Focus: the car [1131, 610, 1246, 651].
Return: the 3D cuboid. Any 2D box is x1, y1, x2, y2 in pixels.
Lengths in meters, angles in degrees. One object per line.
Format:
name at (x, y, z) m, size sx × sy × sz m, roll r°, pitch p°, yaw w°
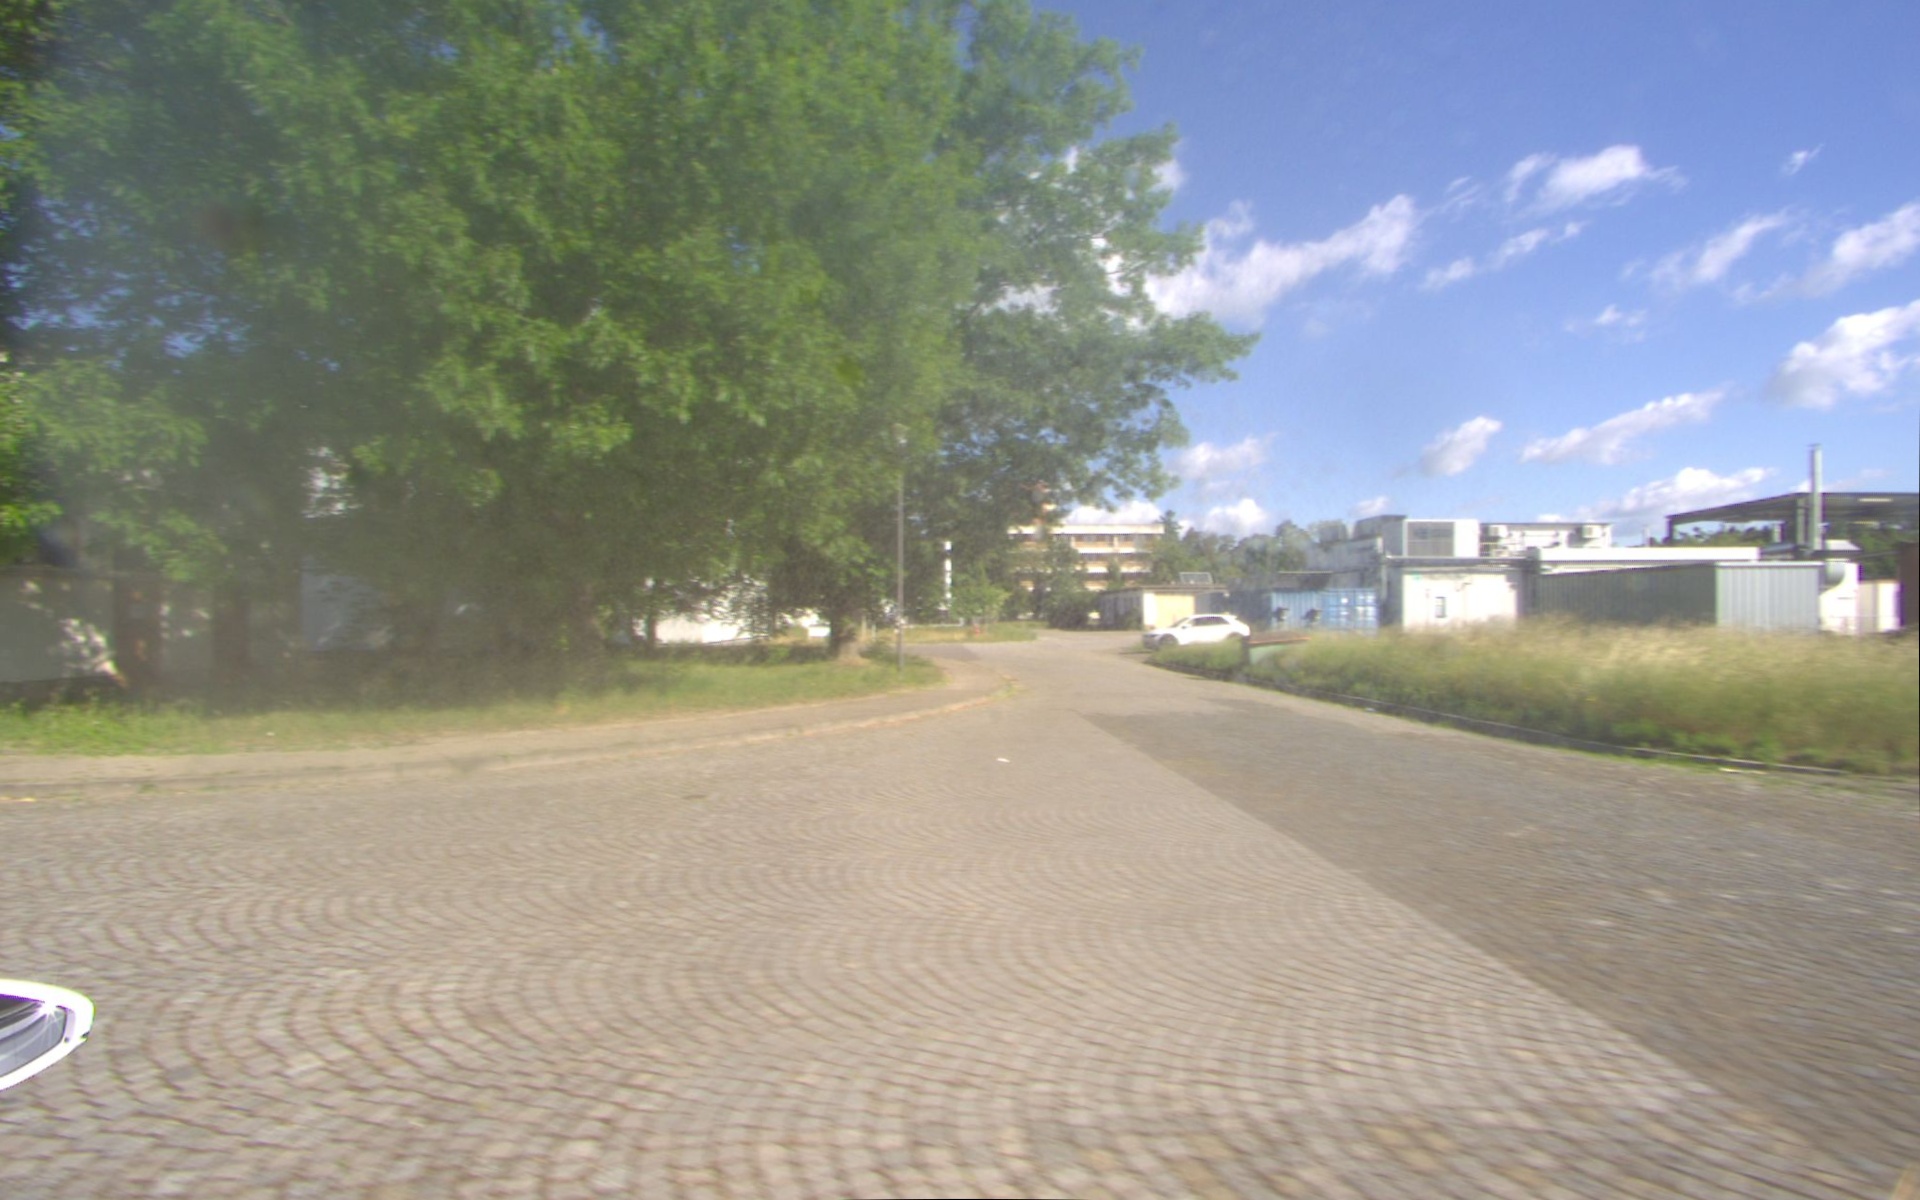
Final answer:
car at (9.897, 1.302, 43.536) m, size 4.513 × 1.699 × 1.875 m, roll 0°, pitch 0°, yaw -3°
